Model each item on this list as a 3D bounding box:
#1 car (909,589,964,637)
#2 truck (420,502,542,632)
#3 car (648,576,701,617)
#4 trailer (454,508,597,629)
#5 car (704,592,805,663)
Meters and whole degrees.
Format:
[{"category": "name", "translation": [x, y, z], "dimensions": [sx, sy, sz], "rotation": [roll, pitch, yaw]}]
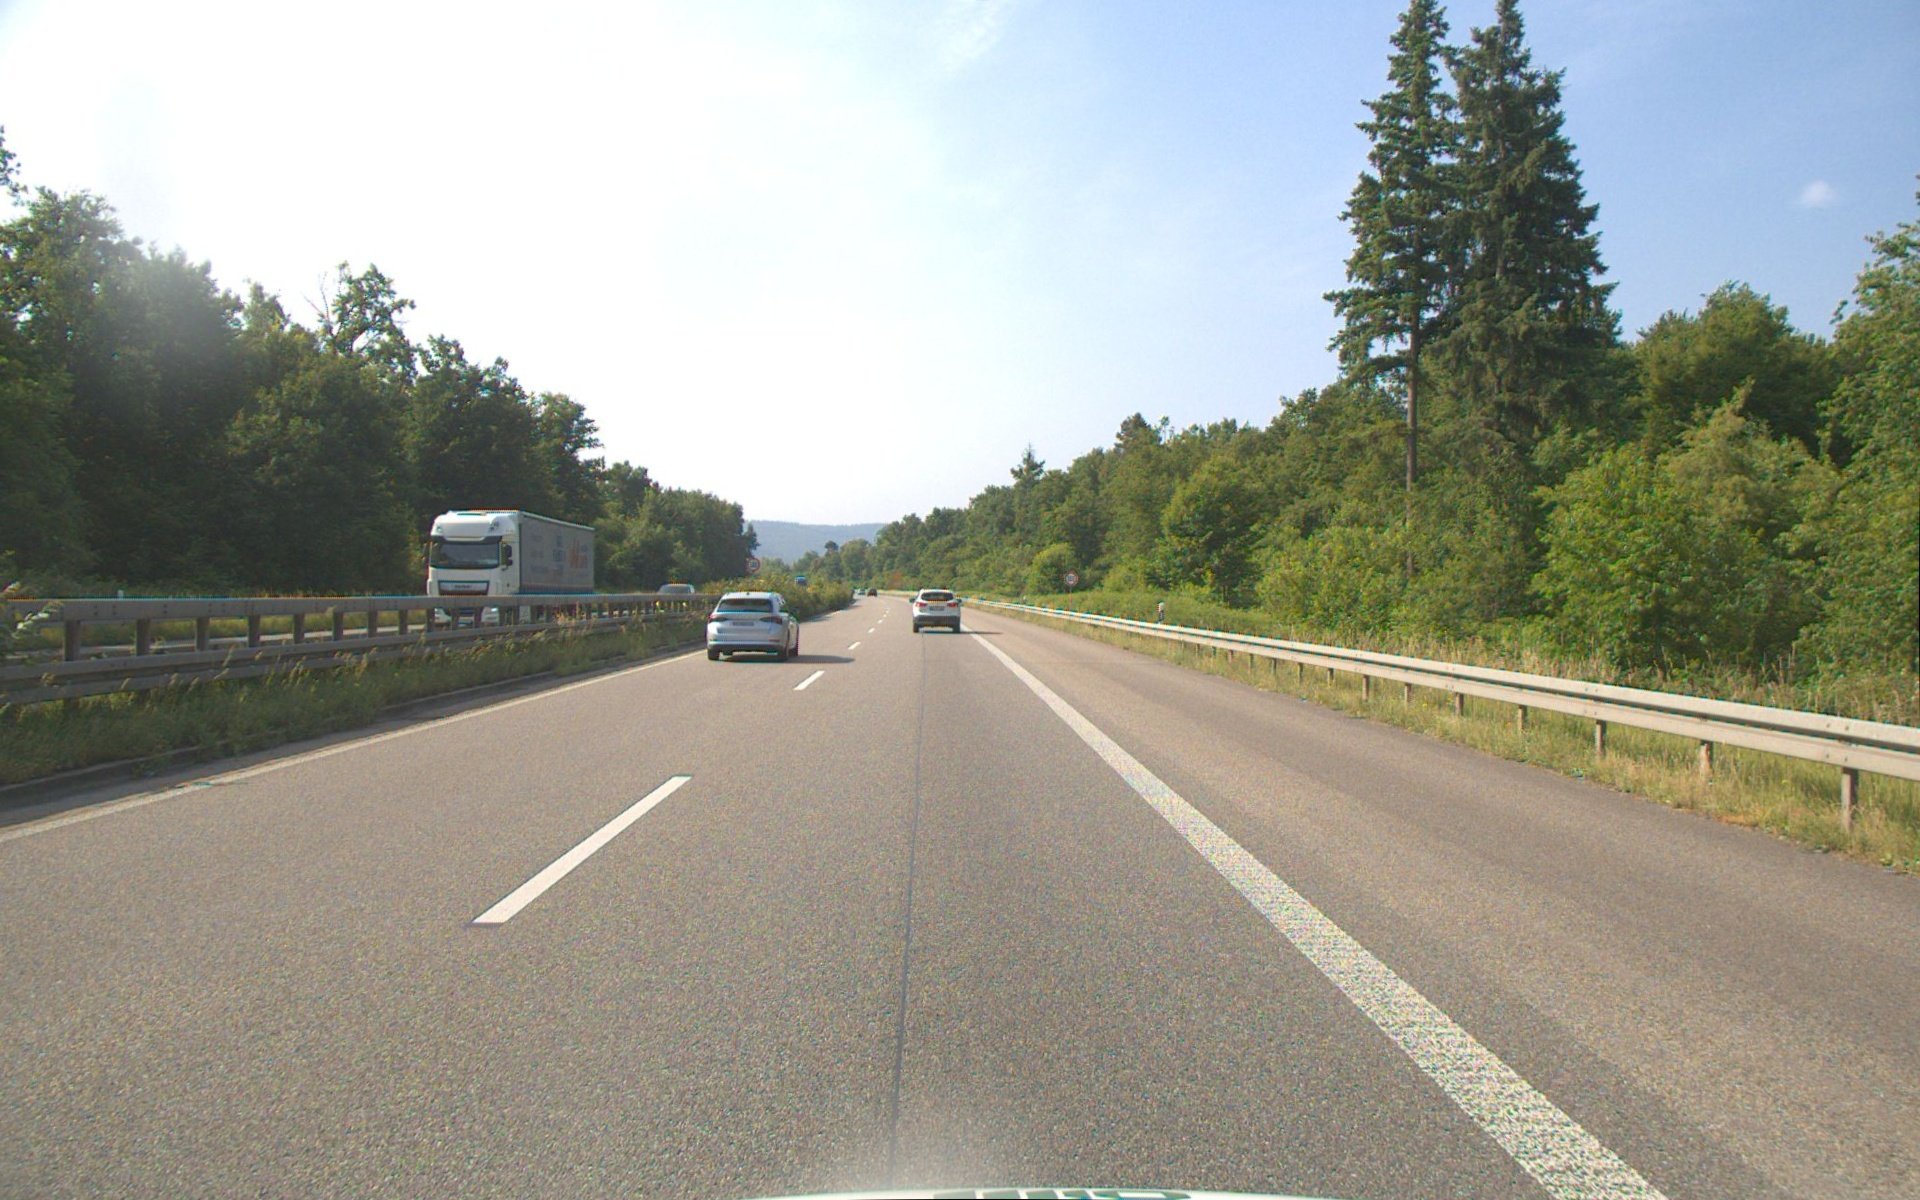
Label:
[{"category": "car", "translation": [-0.907, 0.460, 62.145], "dimensions": [1.836, 1.614, 3.997], "rotation": [3, 1, -4]}, {"category": "truck", "translation": [-16.430, -1.104, 57.107], "dimensions": [2.781, 4.269, 5.544], "rotation": [0, 0, -2]}, {"category": "car", "translation": [-12.537, -0.173, 72.867], "dimensions": [1.652, 1.718, 4.167], "rotation": [1, 0, -1]}, {"category": "trailer", "translation": [-16.774, -1.135, 64.876], "dimensions": [2.775, 4.282, 12.406], "rotation": [0, 0, -2]}, {"category": "car", "translation": [-4.555, 0.562, 37.261], "dimensions": [1.756, 1.463, 5.277], "rotation": [0, 0, -2]}]
